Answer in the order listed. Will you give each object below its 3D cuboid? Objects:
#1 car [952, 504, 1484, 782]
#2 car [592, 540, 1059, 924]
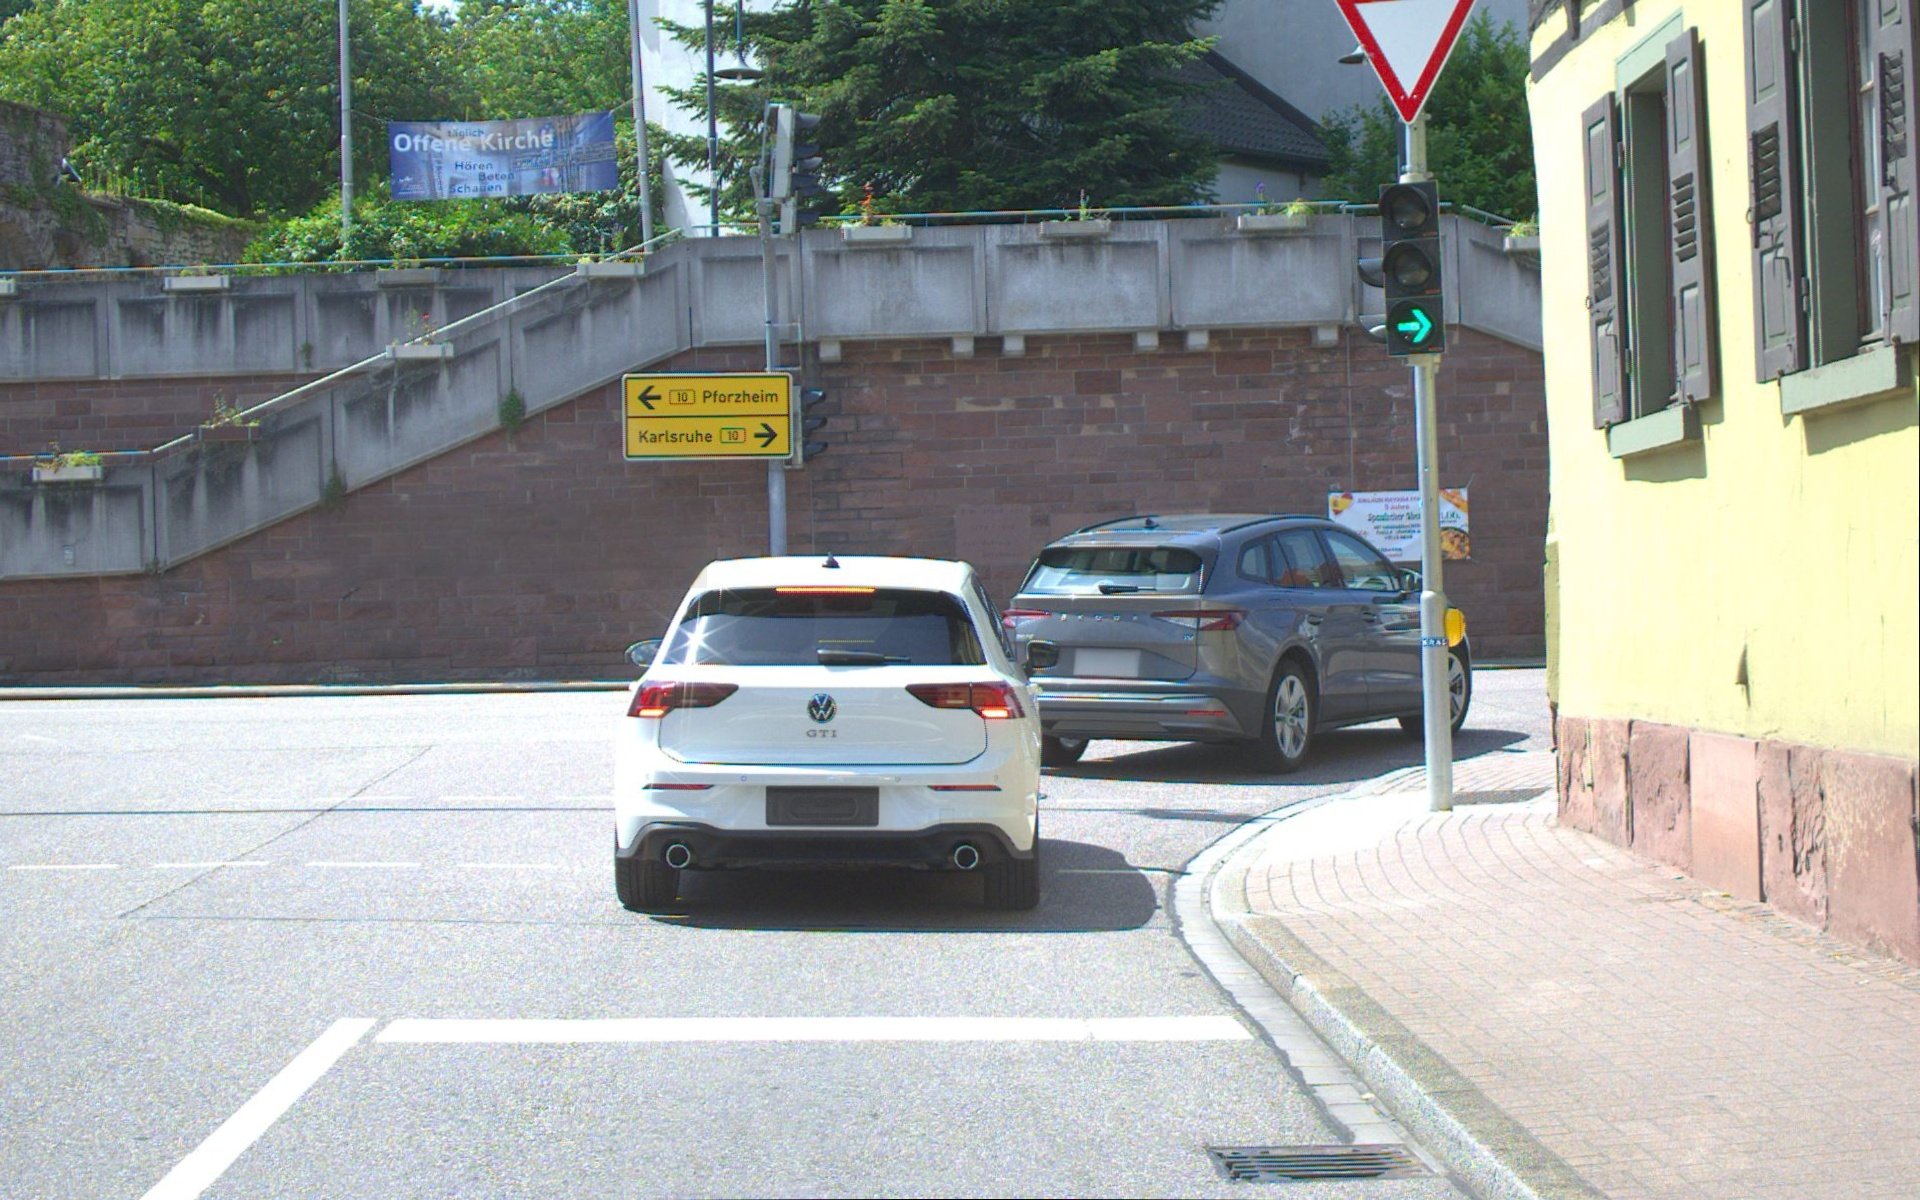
[{"bbox_3d":[1.842,0.203,23.015,1.952,1.577,4.320,0,3,28],"label":"car"},{"bbox_3d":[-0.501,0.498,15.325,1.783,1.453,3.863,-1,0,1],"label":"car"}]
